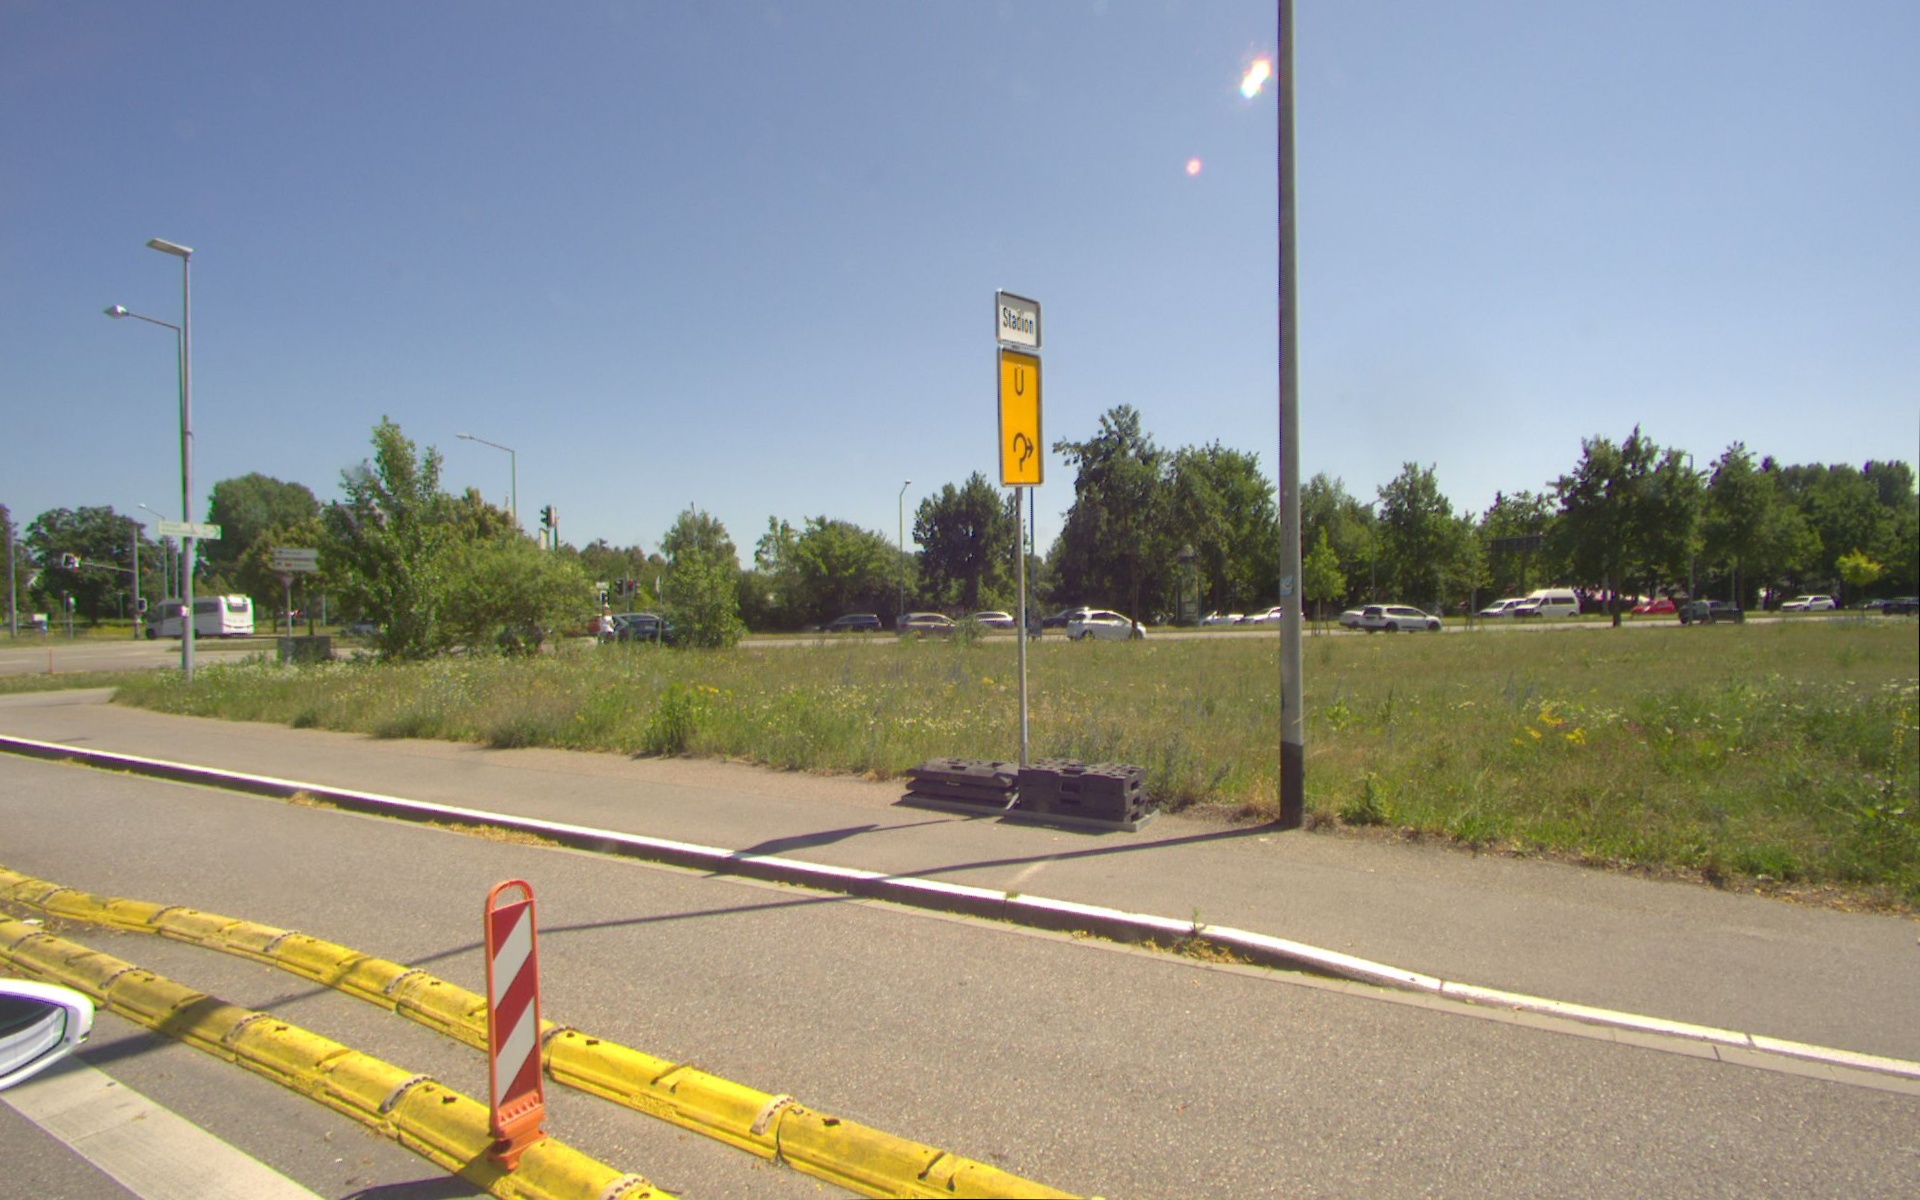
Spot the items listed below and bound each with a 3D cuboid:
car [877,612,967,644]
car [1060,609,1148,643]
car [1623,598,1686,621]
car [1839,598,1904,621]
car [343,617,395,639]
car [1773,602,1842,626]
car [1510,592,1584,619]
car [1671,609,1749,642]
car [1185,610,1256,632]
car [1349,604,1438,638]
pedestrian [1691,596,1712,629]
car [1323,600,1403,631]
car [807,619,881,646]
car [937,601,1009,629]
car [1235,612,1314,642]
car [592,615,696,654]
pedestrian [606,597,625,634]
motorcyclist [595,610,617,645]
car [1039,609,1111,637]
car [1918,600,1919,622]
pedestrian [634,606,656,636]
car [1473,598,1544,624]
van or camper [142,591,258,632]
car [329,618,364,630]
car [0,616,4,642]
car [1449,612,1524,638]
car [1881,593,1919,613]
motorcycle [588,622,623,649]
[{"bbox_3d":[-1.900,1.386,49.940,4.187,1.543,1.819,0,-1,-17],"label":"car"},{"bbox_3d":[7.046,1.270,49.106,3.940,1.641,1.678,0,-1,-16],"label":"car"},{"bbox_3d":[59.211,0.831,85.378,4.522,1.874,1.997,0,-1,-16],"label":"car"},{"bbox_3d":[83.560,0.908,91.787,4.993,2.040,1.997,0,-1,-15],"label":"car"},{"bbox_3d":[-40.558,1.905,68.704,3.742,1.442,1.646,-1,-1,33],"label":"car"},{"bbox_3d":[72.578,1.217,85.746,4.993,2.040,1.997,0,-1,-15],"label":"car"},{"bbox_3d":[45.674,0.420,77.940,4.993,2.040,1.997,0,-1,-15],"label":"car"},{"bbox_3d":[47.671,1.601,63.664,3.928,2.040,1.998,0,-1,-15],"label":"car"},{"bbox_3d":[19.144,1.542,73.585,4.696,1.590,1.997,0,-1,-15],"label":"car"},{"bbox_3d":[23.714,1.140,54.768,4.189,1.839,1.996,0,-1,-18],"label":"car"},{"bbox_3d":[35.843,0.607,48.406,0.724,1.583,0.497,0,0,-18],"label":"pedestrian"},{"bbox_3d":[24.343,0.951,60.458,4.189,1.839,1.996,0,-1,-18],"label":"car"},{"bbox_3d":[-7.560,2.121,65.209,4.607,1.710,1.735,0,-1,-13],"label":"car"},{"bbox_3d":[0.838,0.974,64.778,4.298,1.739,1.998,0,-1,-13],"label":"car"},{"bbox_3d":[22.092,1.863,70.436,4.993,2.040,1.997,0,-1,-15],"label":"car"},{"bbox_3d":[-13.079,1.409,41.503,3.937,1.516,1.641,0,-1,-25],"label":"car"},{"bbox_3d":[-18.263,0.825,53.054,0.726,1.894,0.648,-1,-1,34],"label":"pedestrian"},{"bbox_3d":[-13.174,1.023,37.231,0.570,1.306,0.615,0,-1,3],"label":"motorcyclist"},{"bbox_3d":[7.854,1.566,68.505,4.521,1.829,1.998,0,-1,-12],"label":"car"},{"bbox_3d":[66.056,0.733,66.477,3.946,1.463,1.632,0,-1,-11],"label":"car"},{"bbox_3d":[-16.785,1.102,53.318,0.812,1.583,0.789,-1,-1,38],"label":"pedestrian"},{"bbox_3d":[44.113,0.872,80.576,4.993,2.040,1.997,0,-1,-15],"label":"car"},{"bbox_3d":[-53.277,0.844,70.193,7.374,2.728,2.511,-1,-1,15],"label":"van or camper"},{"bbox_3d":[-88.272,3.442,144.176,1.964,1.736,3.996,0,-1,16],"label":"car"},{"bbox_3d":[-63.376,1.867,64.276,3.171,1.627,1.648,-1,-1,19],"label":"car"},{"bbox_3d":[32.563,1.535,61.977,3.928,1.605,1.837,0,-1,-15],"label":"car"},{"bbox_3d":[69.743,0.229,73.156,3.931,1.425,1.996,0,-1,-19],"label":"car"},{"bbox_3d":[-13.149,1.314,37.186,0.619,0.982,1.709,0,-1,3],"label":"motorcycle"}]
